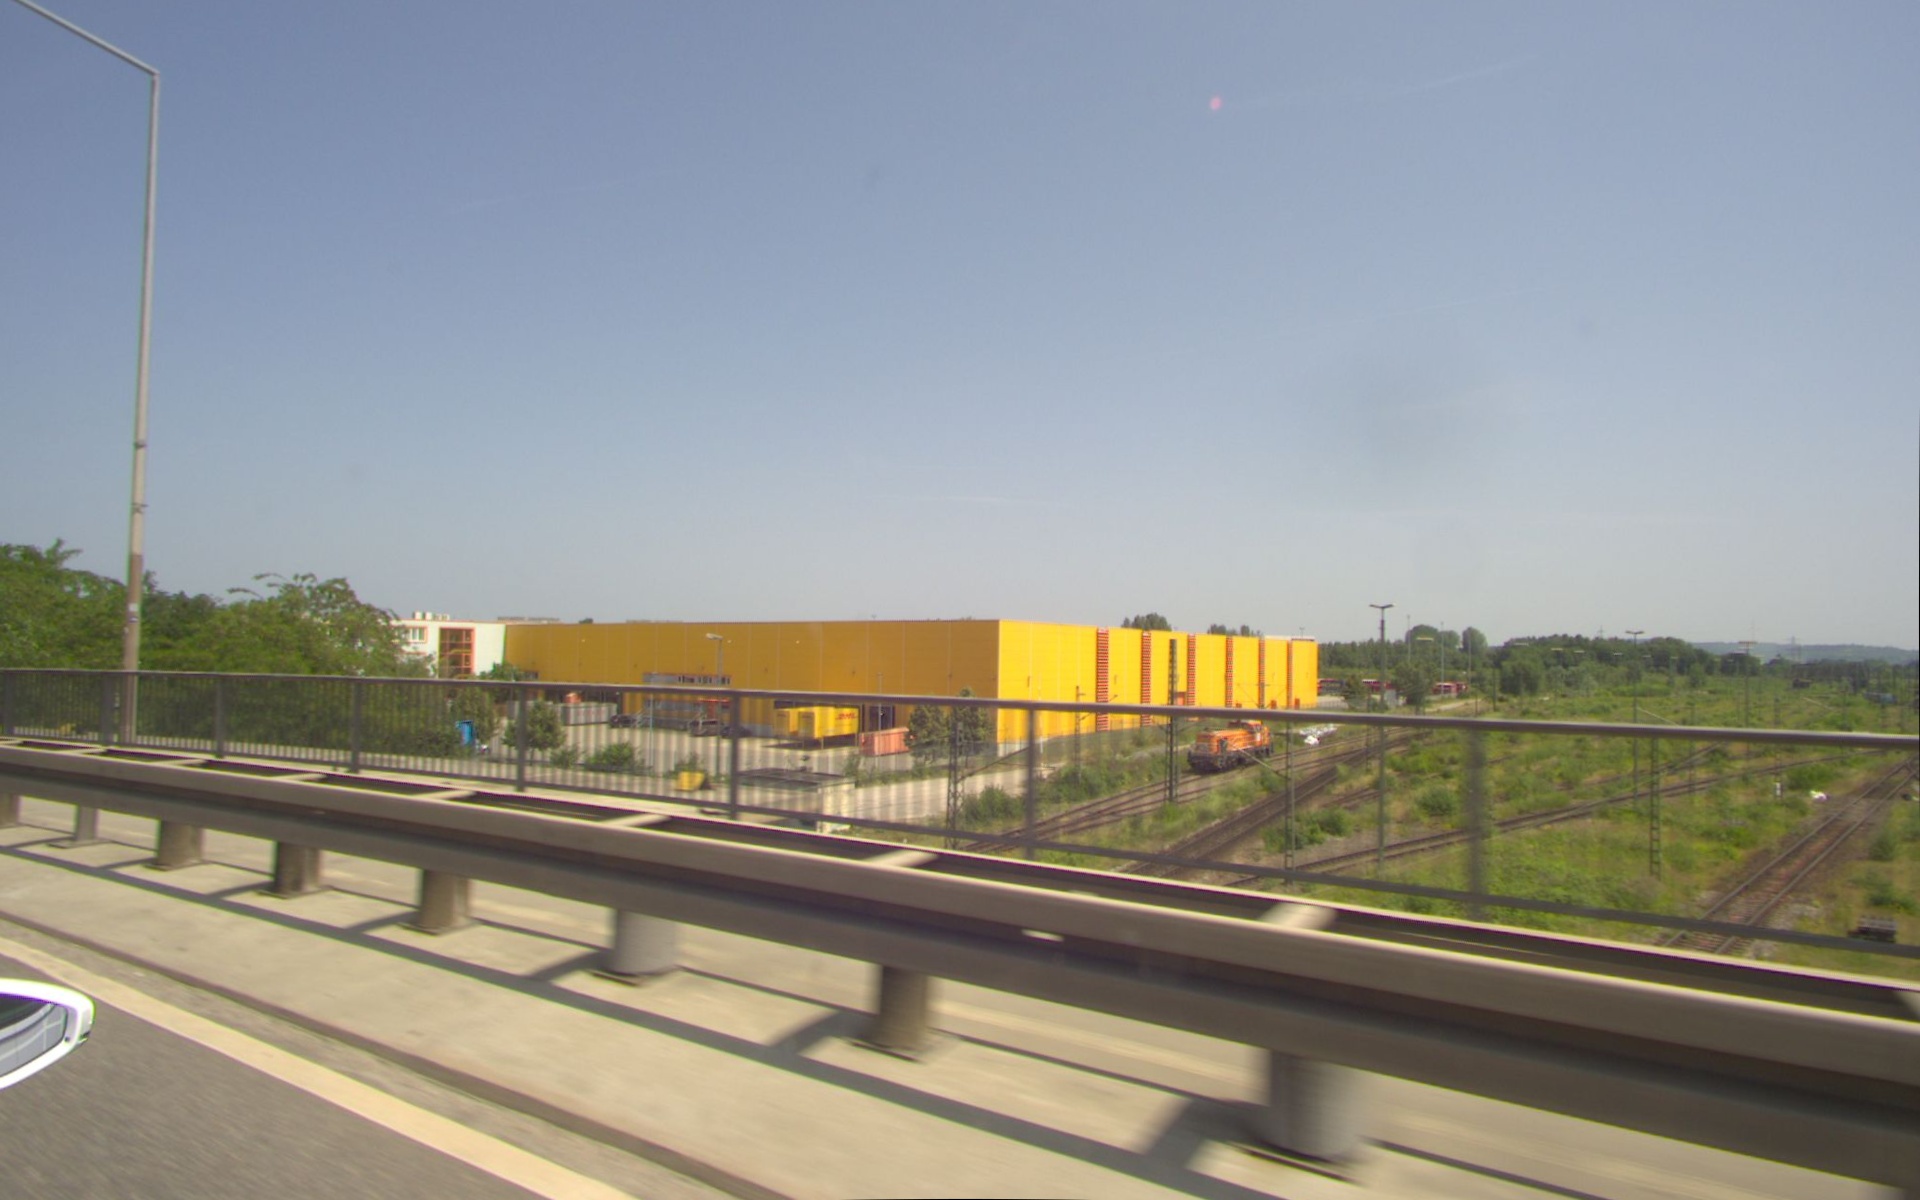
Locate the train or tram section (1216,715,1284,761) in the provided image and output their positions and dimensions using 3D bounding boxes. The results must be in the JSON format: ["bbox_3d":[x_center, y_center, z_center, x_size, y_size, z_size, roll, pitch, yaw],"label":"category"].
[{"bbox_3d":[28.324,13.237,97.146,2.208,3.733,13.944,0,-4,33],"label":"train or tram section"}]

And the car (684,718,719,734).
[{"bbox_3d":[-30.932,15.040,119.844,1.775,1.468,3.825,0,-2,33],"label":"car"}]
